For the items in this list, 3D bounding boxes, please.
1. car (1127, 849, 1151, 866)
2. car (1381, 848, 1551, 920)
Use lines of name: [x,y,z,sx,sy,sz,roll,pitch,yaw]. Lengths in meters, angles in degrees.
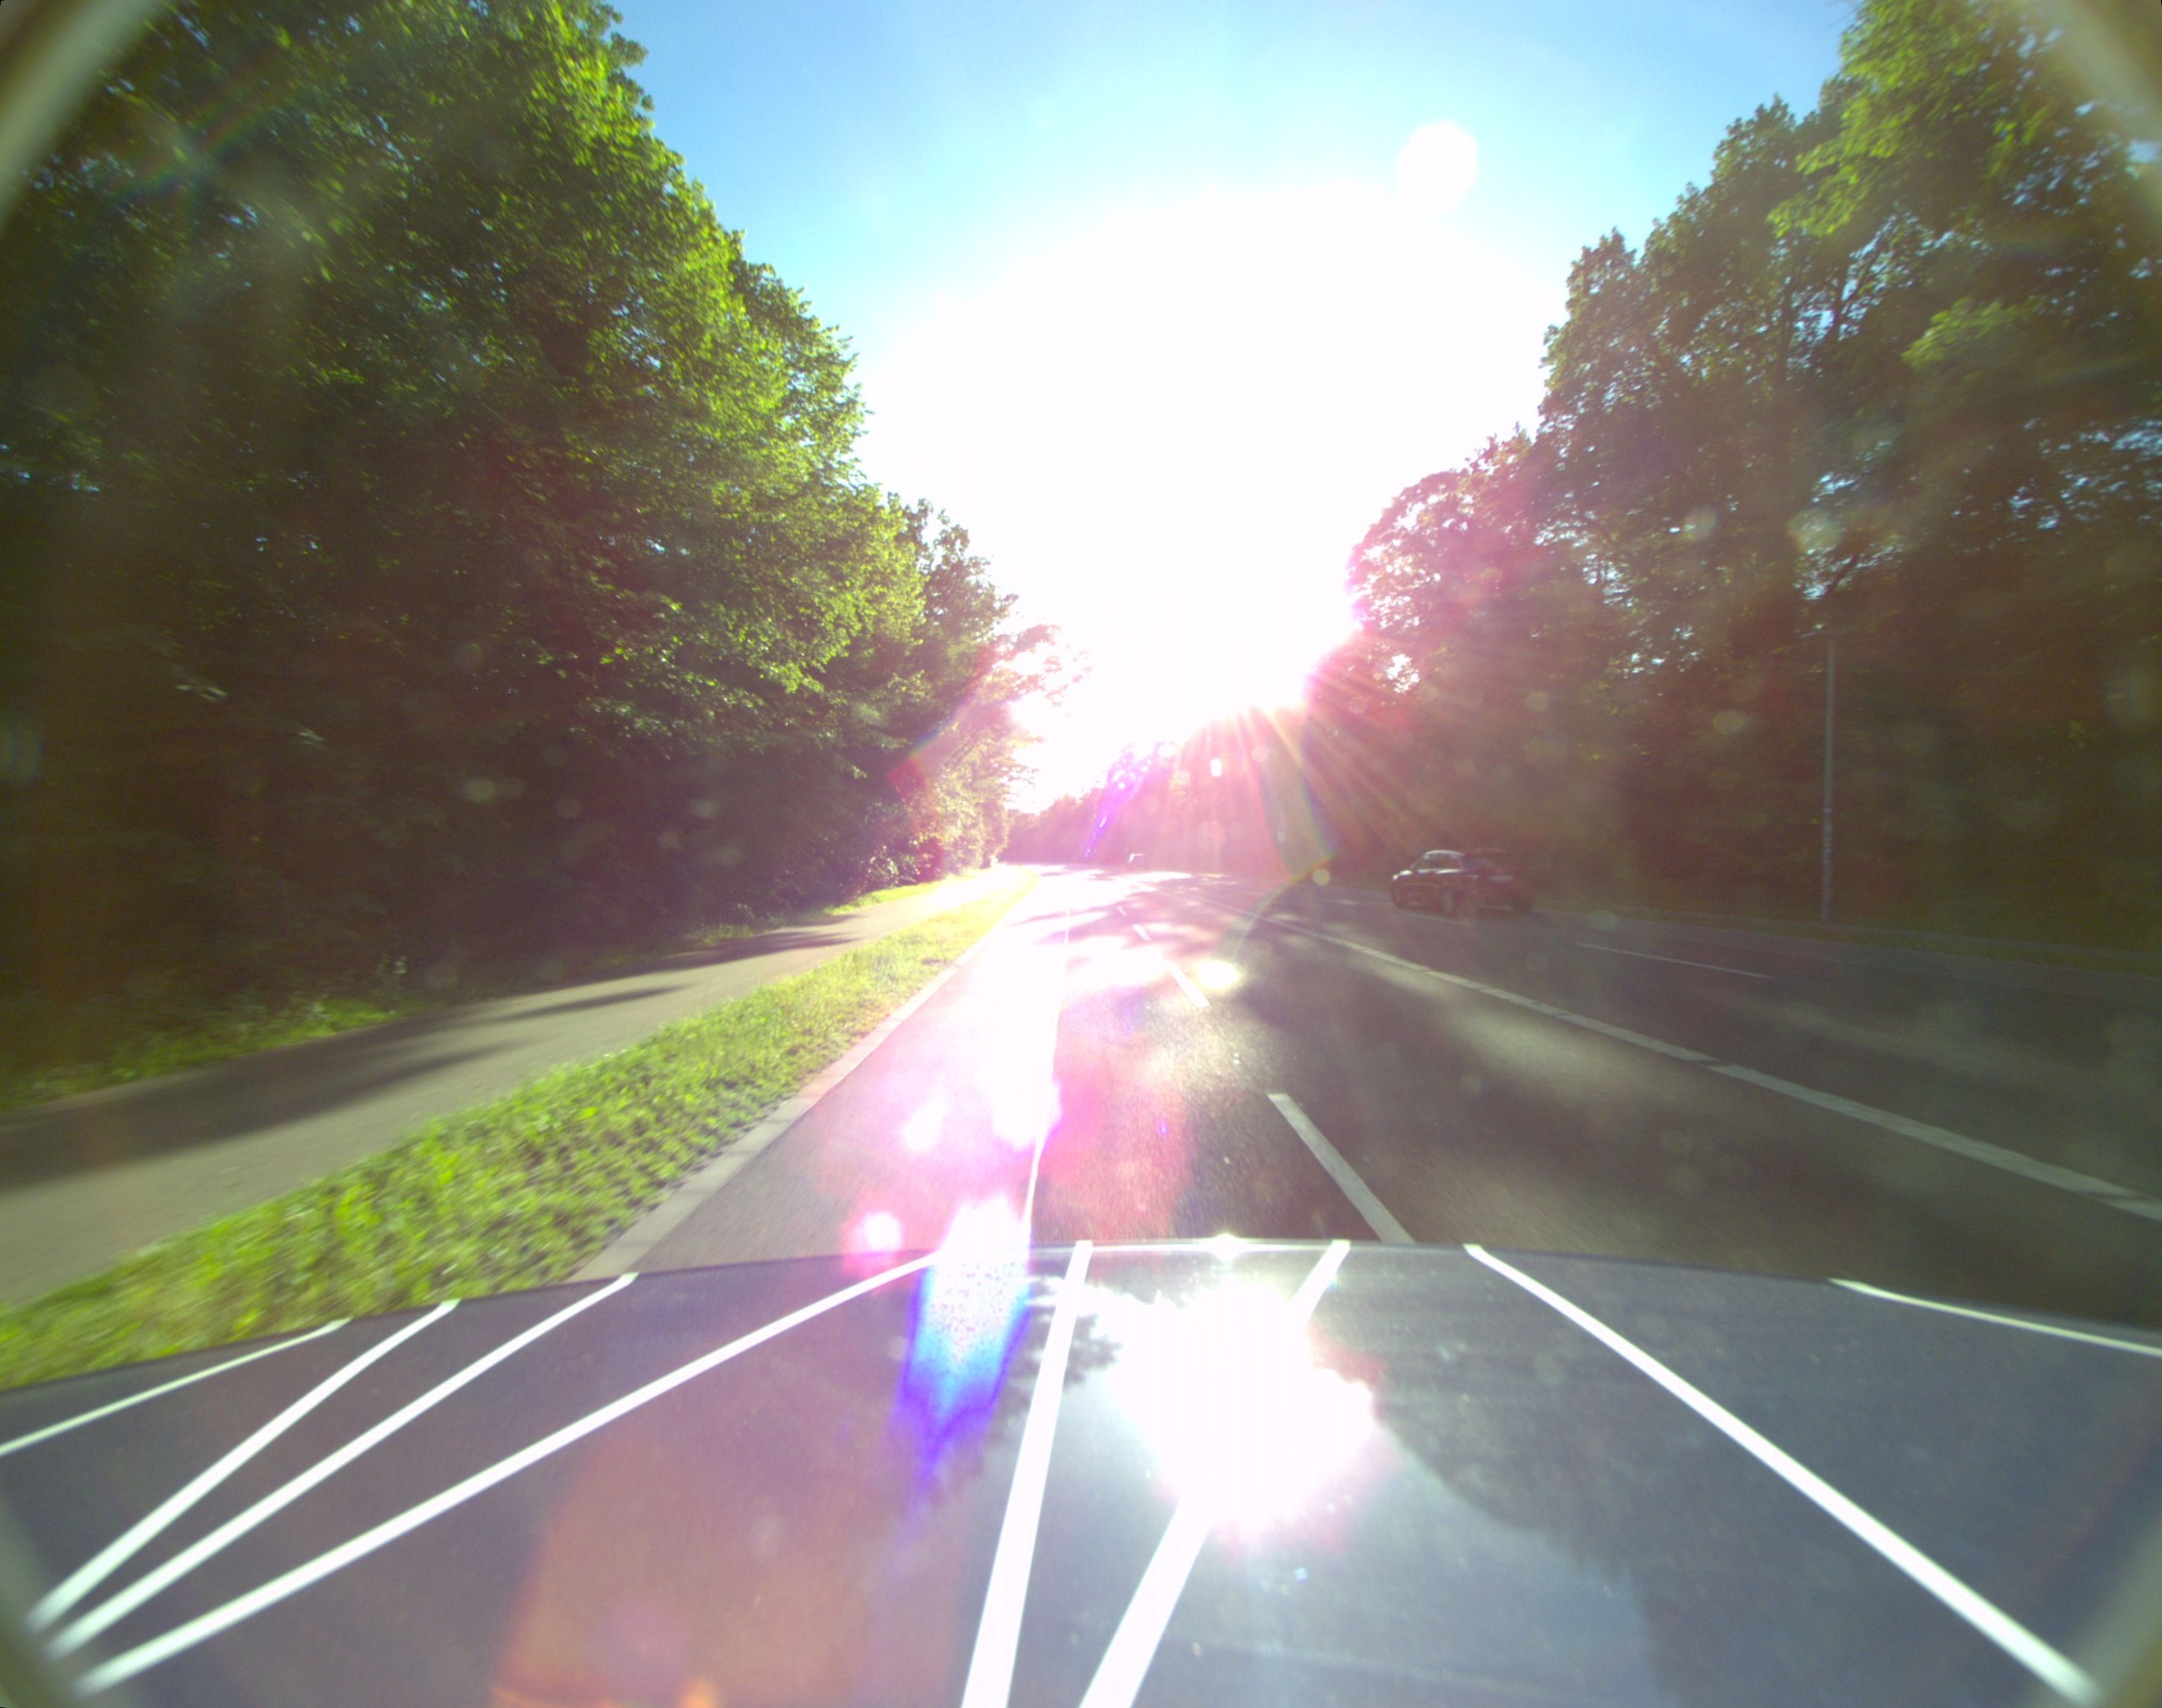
car: [5.994,0.349,78.821,1.813,1.653,4.519,-1,0,-5]
car: [8.542,0.605,17.311,1.714,1.415,4.130,-1,0,-1]
